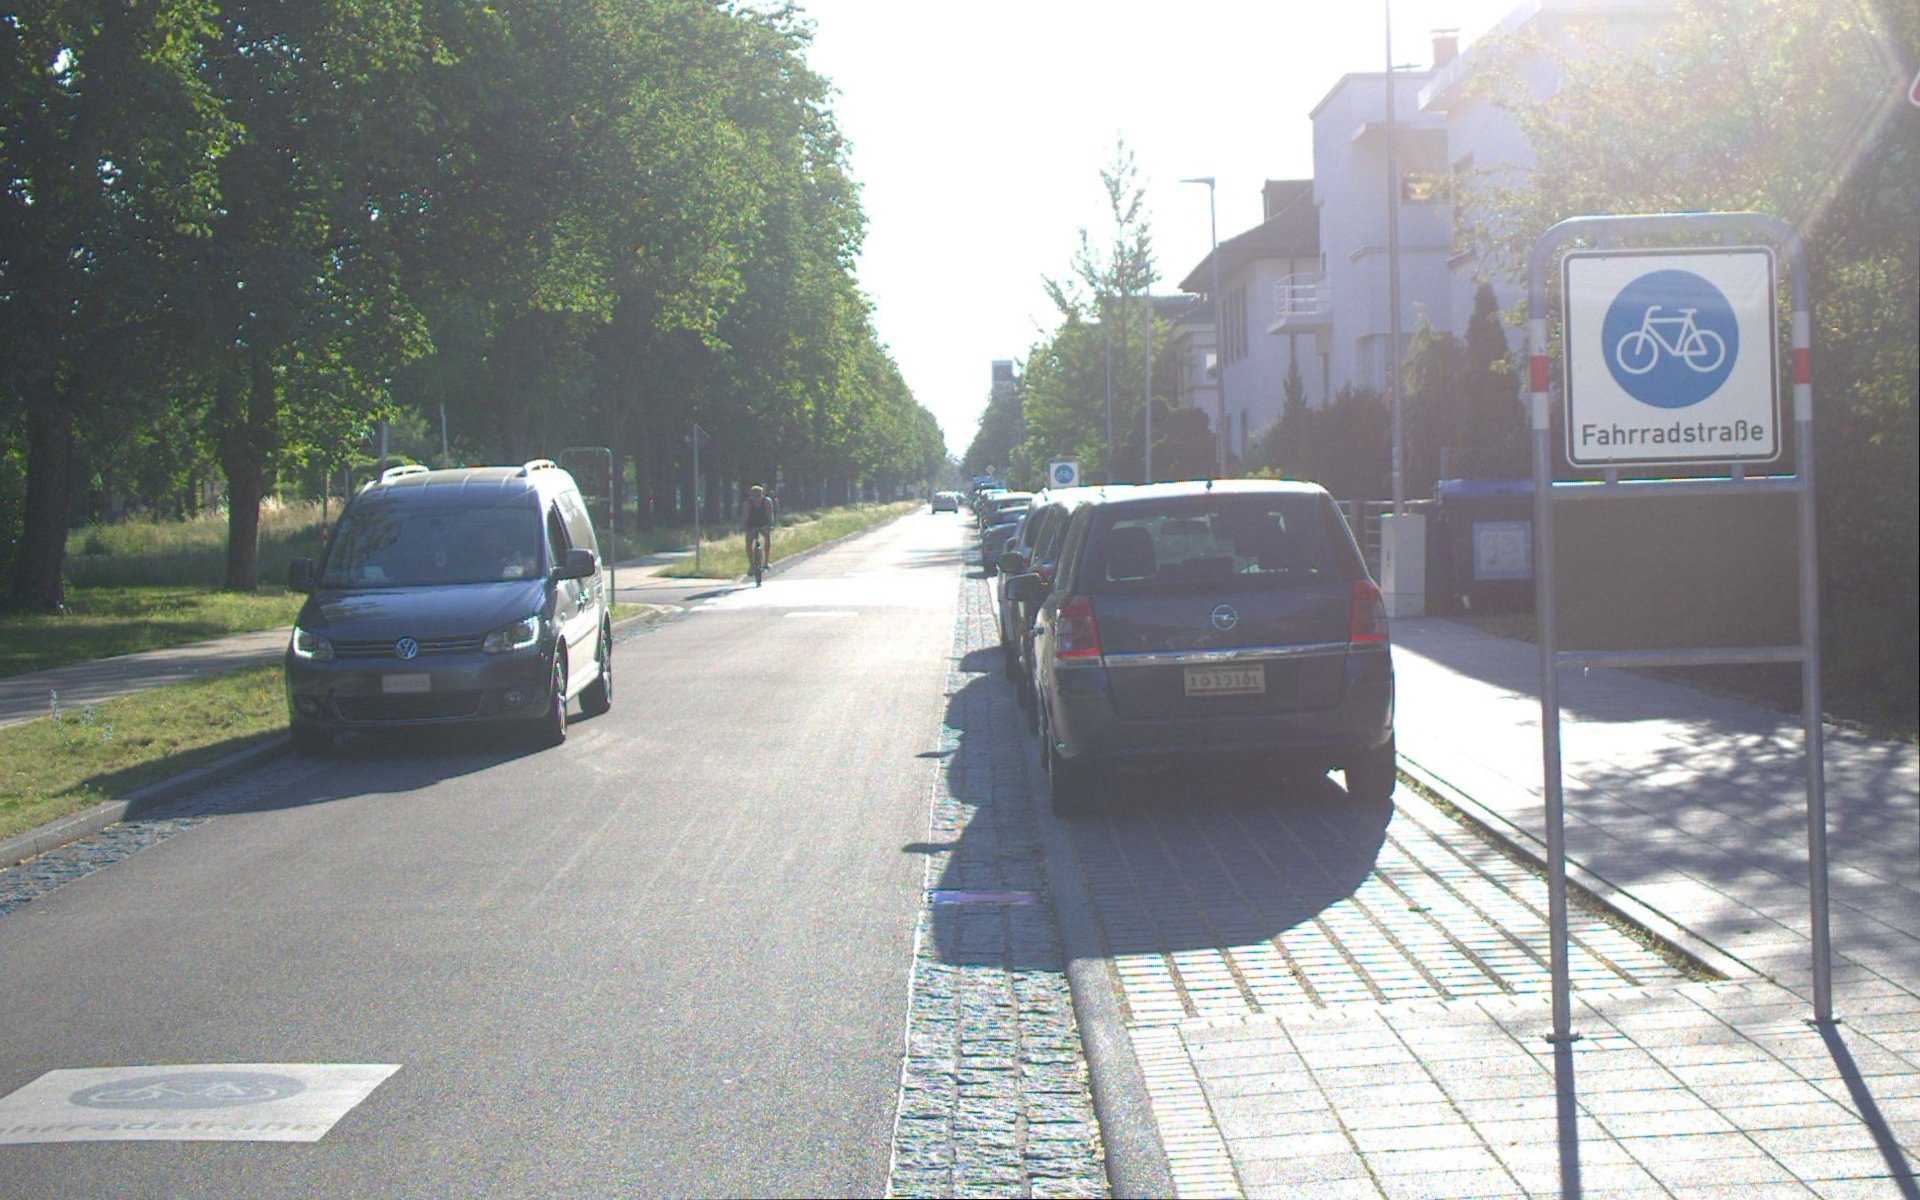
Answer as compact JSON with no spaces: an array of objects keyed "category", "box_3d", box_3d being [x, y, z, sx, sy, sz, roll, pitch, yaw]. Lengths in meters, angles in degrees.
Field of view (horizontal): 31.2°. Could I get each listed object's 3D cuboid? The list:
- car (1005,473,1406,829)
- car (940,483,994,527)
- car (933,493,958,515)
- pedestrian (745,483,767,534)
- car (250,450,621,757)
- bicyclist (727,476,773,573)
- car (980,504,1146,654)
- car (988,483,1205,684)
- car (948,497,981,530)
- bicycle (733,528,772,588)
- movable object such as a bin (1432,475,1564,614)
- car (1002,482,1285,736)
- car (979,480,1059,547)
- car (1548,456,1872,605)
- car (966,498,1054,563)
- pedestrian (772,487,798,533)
[{"category":"car","box_3d":[1.196,0.171,18.401,1.710,1.605,4.169,-3,2,-1]},{"category":"car","box_3d":[0.220,-3.289,119.232,1.736,1.444,4.197,-2,1,-1]},{"category":"car","box_3d":[-1.004,-6.688,238.742,1.652,1.536,3.267,0,2,0]},{"category":"pedestrian","box_3d":[-7.279,-3.276,122.713,0.624,1.824,0.886,-1,2,4]},{"category":"car","box_3d":[-3.498,-0.032,23.744,1.844,1.841,4.573,-2,1,-1]},{"category":"bicyclist","box_3d":[-3.708,-1.334,60.816,0.681,1.667,1.173,-2,1,0]},{"category":"car","box_3d":[1.025,-0.264,35.672,1.564,1.385,4.375,-2,2,1]},{"category":"car","box_3d":[1.147,-0.200,29.656,1.679,1.550,4.130,-2,2,1]},{"category":"car","box_3d":[0.228,-4.295,170.290,1.498,1.561,3.267,-1,2,1]},{"category":"bicycle","box_3d":[-3.666,-0.759,60.794,0.556,1.028,1.915,-2,1,0]},{"category":"movable object such as a bin","box_3d":[5.620,-0.590,35.970,1.237,1.427,1.123,0,2,2]},{"category":"car","box_3d":[1.198,-0.005,23.980,1.678,1.550,4.145,-2,2,0]},{"category":"car","box_3d":[1.404,-2.110,83.170,1.744,1.469,3.923,-4,2,-1]},{"category":"car","box_3d":[8.514,-0.792,39.237,3.494,1.636,1.643,0,2,8]},{"category":"car","box_3d":[1.036,-1.469,72.037,1.774,1.284,4.273,0,2,1]},{"category":"pedestrian","box_3d":[-6.222,-3.204,122.256,0.783,1.609,0.952,-1,2,4]}]
